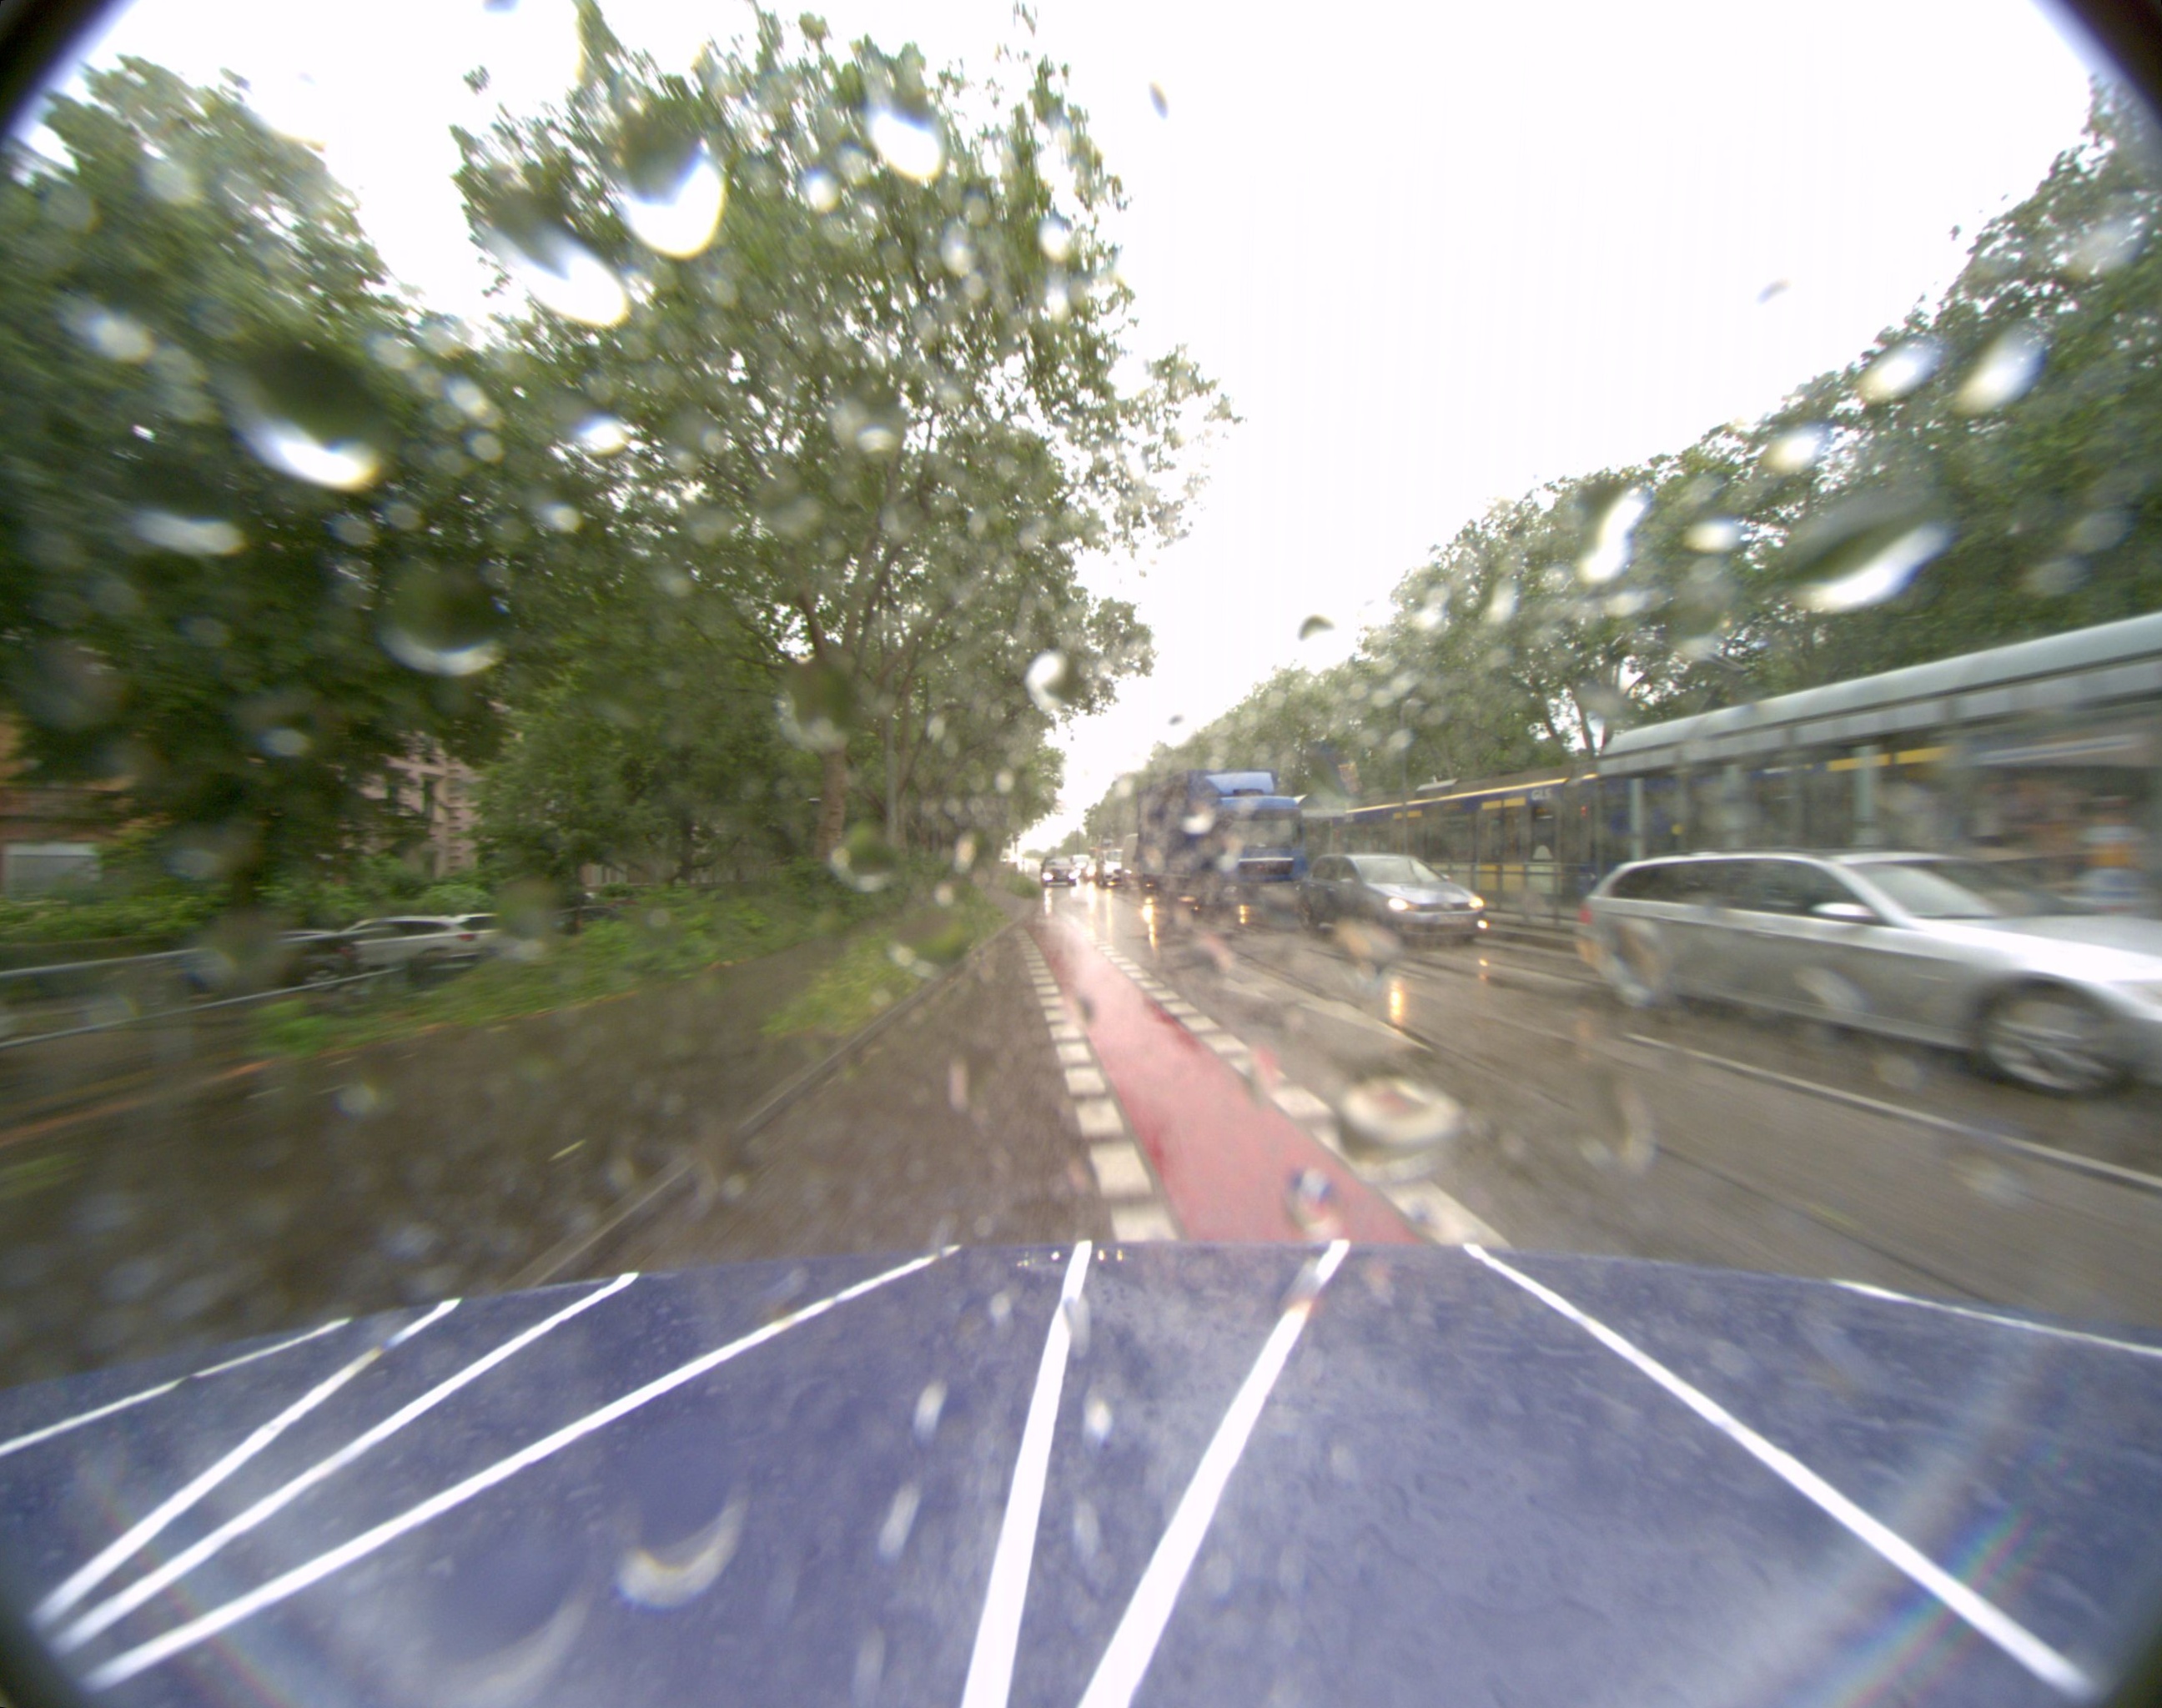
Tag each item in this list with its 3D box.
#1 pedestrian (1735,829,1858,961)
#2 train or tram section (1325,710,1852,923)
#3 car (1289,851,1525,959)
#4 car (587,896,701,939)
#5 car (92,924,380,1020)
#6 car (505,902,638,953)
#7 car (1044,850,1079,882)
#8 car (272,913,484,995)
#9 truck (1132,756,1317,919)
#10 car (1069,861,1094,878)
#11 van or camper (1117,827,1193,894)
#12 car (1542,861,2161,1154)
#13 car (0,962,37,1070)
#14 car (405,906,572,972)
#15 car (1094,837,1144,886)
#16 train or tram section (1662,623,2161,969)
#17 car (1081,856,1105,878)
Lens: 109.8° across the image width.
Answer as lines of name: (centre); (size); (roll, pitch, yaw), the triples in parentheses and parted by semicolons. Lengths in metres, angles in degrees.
pedestrian: (8.156, 0.445, 8.692); (0.634, 1.410, 0.750); (-4, 1, -7)
train or tram section: (11.053, -0.682, 19.965); (3.523, 3.492, 13.651); (-4, 0, -6)
car: (5.337, 0.738, 13.120); (1.895, 1.478, 4.075); (-3, 0, -7)
car: (-19.130, 2.719, 33.356); (4.007, 1.455, 1.833); (-3, 1, -41)
car: (-18.848, 2.564, 17.288); (4.007, 1.455, 1.995); (-3, 1, -37)
car: (-19.673, 2.778, 29.389); (4.007, 1.455, 1.908); (-3, 1, -41)
car: (-1.158, 0.657, 43.881); (1.756, 1.657, 3.676); (-3, 0, -4)
car: (-18.906, 2.621, 20.734); (4.007, 1.599, 1.821); (-3, 1, -37)
truck: (3.809, -0.412, 23.165); (2.546, 3.866, 9.805); (-2, 0, -7)
car: (0.010, 1.165, 58.676); (1.467, 1.185, 3.613); (-3, 0, -7)
van or camper: (3.127, 0.269, 33.669); (1.999, 2.555, 6.427); (-4, 1, -6)
car: (6.106, 0.784, 5.790); (2.000, 1.386, 4.603); (-1, 0, -7)
car: (-17.624, 2.486, 10.117); (4.006, 1.496, 1.654); (-2, 1, -31)
car: (-18.913, 2.632, 24.360); (4.007, 1.557, 1.995); (-3, 1, -41)
car: (2.004, 0.367, 42.052); (1.999, 2.412, 5.725); (-4, 1, -4)
train or tram section: (12.573, -0.662, 5.495); (3.551, 3.393, 15.495); (-4, 0, -6)
car: (0.801, 0.847, 49.843); (1.466, 1.265, 3.615); (-4, 0, 2)
